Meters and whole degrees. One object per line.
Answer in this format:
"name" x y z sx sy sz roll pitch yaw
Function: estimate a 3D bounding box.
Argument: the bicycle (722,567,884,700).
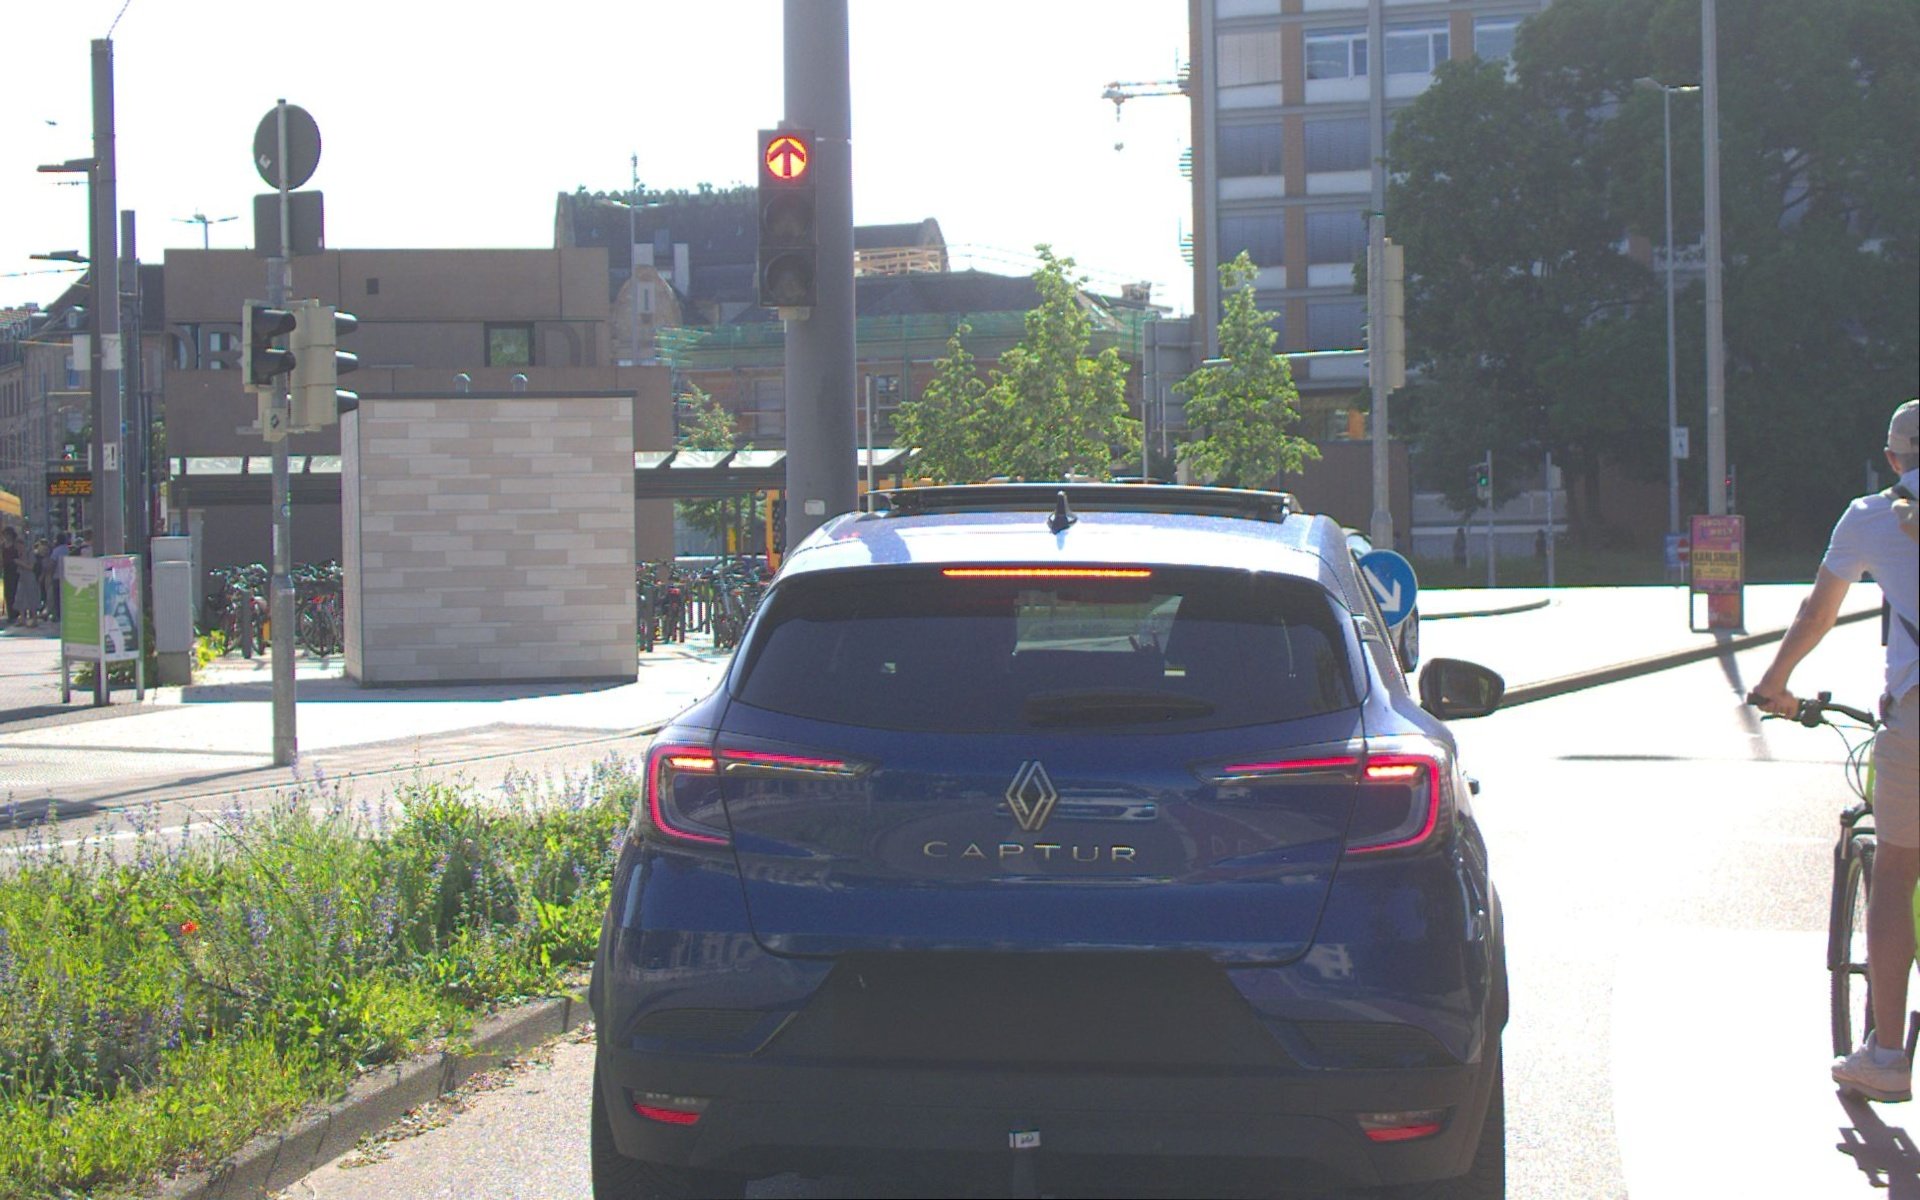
"bicycle" -1.316 0.268 29.276 0.774 1.077 2.034 -1 0 15

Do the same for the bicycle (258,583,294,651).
"bicycle" -9.781 0.236 49.149 0.421 0.934 1.306 1 1 -14

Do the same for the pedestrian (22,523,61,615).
"pedestrian" -18.658 -0.628 69.812 0.673 1.850 0.703 0 0 -8

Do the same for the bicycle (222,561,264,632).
"bicycle" -11.202 -0.057 53.767 0.565 1.090 2.030 0 0 -10

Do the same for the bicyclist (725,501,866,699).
"bicyclist" -1.392 -0.005 29.243 0.880 1.639 1.059 -1 0 15

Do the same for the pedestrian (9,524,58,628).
"pedestrian" -16.973 -0.434 62.973 0.847 1.877 0.761 0 0 -14

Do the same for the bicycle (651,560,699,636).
"bicycle" -4.165 -0.021 50.088 0.580 1.084 2.059 0 0 -8

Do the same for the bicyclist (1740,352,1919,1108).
"bicyclist" 2.296 0.291 8.414 0.664 1.741 1.005 0 1 8

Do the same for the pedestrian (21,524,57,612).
"pedestrian" -19.546 -0.675 72.970 0.632 1.850 0.703 0 0 -8

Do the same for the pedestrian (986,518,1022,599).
"pedestrian" 1.003 -0.956 78.993 0.726 1.850 0.702 0 0 9

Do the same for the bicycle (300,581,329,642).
"bicycle" -10.170 0.169 54.180 0.421 0.934 1.379 1 1 -10

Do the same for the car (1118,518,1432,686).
"car" 2.937 -0.019 31.292 1.802 1.388 4.089 -1 1 21

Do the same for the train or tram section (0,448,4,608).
"train or tram section" -21.499 -1.515 71.072 2.870 3.496 10.546 0 1 -13

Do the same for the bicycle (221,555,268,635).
"bicycle" -9.867 -0.065 47.427 0.565 1.090 2.030 0 0 -10

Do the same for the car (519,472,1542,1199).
"car" 0.314 0.540 7.969 1.823 1.594 3.658 1 1 6

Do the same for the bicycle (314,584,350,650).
"bicycle" -9.035 0.239 49.466 0.421 0.934 1.306 1 1 -14

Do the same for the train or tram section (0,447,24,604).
"train or tram section" -23.855 -1.735 81.373 2.870 3.496 10.546 -1 1 -13

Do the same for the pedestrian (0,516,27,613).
"pedestrian" -18.844 -0.704 67.938 0.740 1.911 0.742 0 0 -13

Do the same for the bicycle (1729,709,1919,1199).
"bicycle" 2.328 0.839 8.520 0.663 1.043 1.890 0 1 8

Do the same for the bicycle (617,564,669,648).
"bicycle" -4.073 0.079 44.050 0.580 1.054 1.817 0 0 -8

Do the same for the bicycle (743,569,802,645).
"bicycle" -2.434 0.087 44.477 0.580 0.958 2.059 0 0 -8

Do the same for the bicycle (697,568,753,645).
"bicycle" -3.048 0.084 44.403 0.580 0.958 2.059 0 0 -8

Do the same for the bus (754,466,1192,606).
"bus" 0.145 -1.567 88.424 12.435 3.384 2.875 0 0 41

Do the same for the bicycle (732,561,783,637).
"bicycle" -2.954 -0.016 50.133 0.580 1.084 2.059 0 0 -8

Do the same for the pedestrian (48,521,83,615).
"pedestrian" -17.710 -0.628 68.050 0.632 1.850 0.703 0 0 -18
